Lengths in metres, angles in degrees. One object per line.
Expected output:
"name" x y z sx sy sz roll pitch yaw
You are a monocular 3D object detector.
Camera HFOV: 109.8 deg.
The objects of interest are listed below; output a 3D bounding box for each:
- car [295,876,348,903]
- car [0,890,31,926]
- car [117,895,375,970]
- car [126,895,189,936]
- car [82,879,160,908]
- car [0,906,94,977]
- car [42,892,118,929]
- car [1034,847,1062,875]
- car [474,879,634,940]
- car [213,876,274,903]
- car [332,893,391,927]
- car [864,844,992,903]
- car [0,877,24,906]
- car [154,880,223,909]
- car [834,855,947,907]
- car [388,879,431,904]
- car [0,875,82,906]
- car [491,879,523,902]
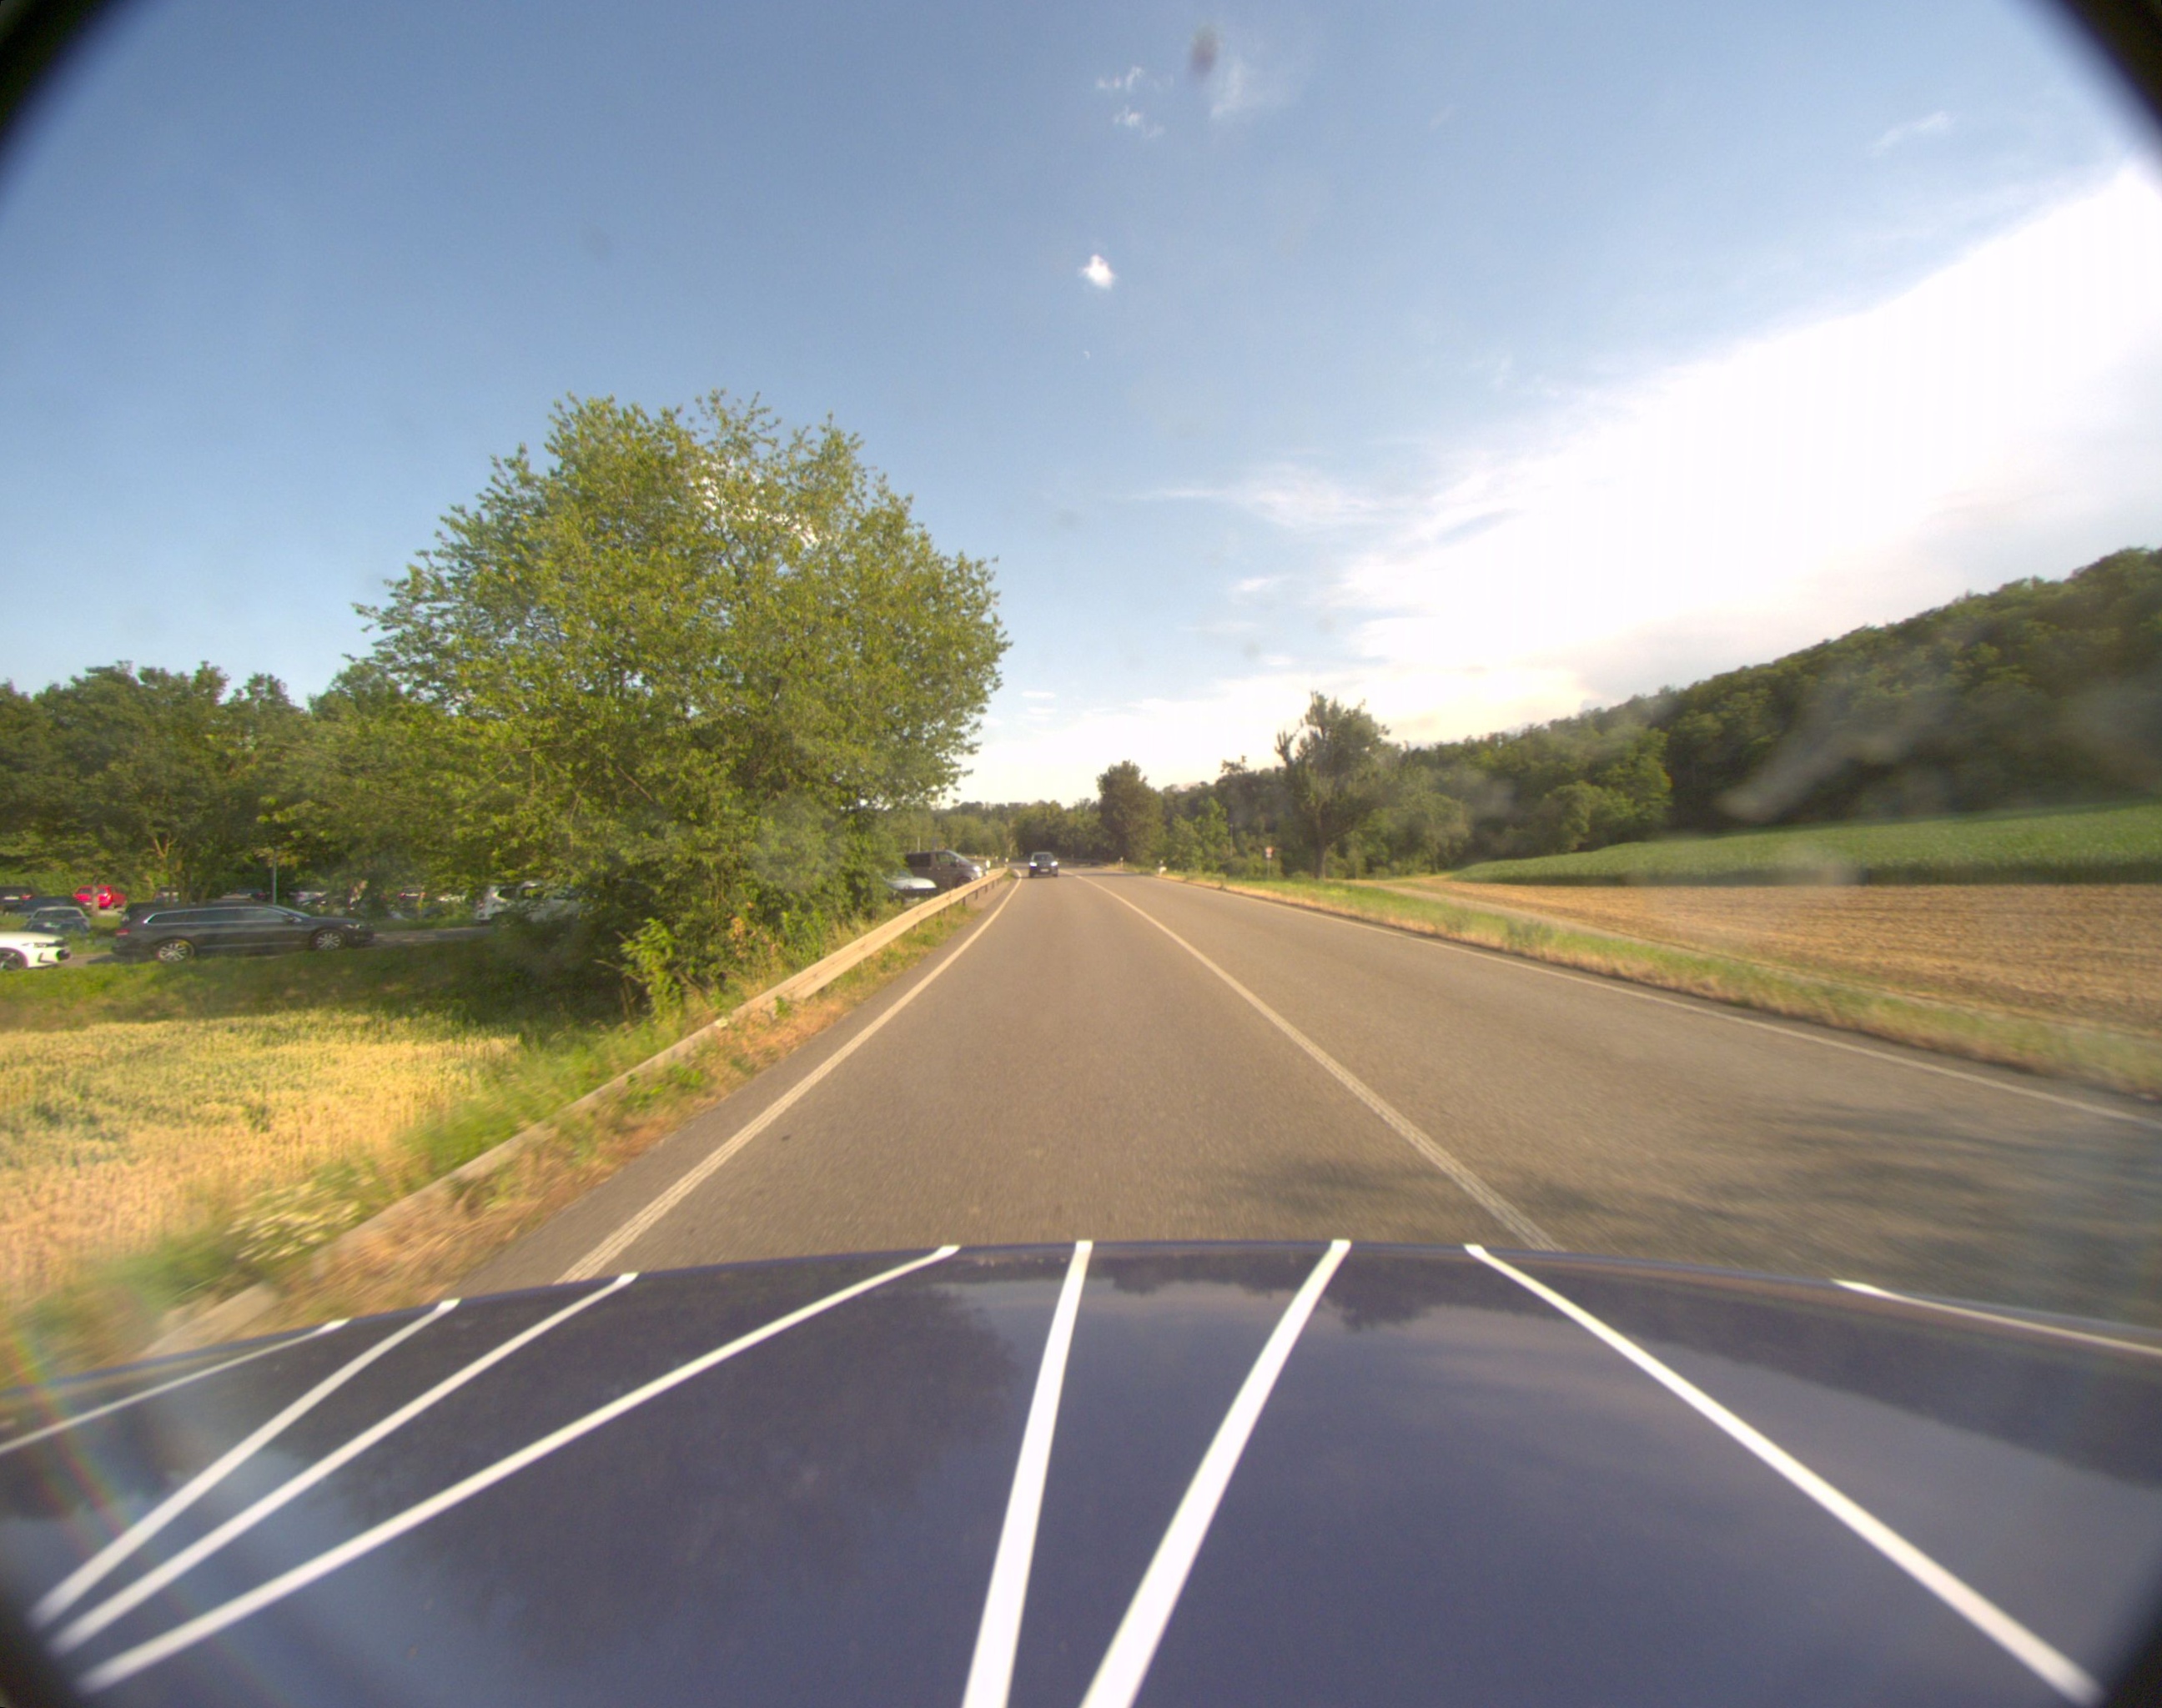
"car" -54.528 2.509 54.659 1.807 1.681 4.585 -1 0 -34
"car" -55.402 2.746 38.476 1.807 1.681 4.583 -2 1 -44
"car" -22.766 2.069 21.065 4.538 1.498 1.994 -2 1 -41
"car" -44.635 2.927 36.689 4.583 1.681 1.807 -1 1 38
"car" -62.966 2.558 49.938 1.807 1.681 4.585 -1 0 -34
"car" -26.908 2.171 17.538 4.652 1.498 1.994 -2 1 -41
"car" -54.349 3.014 41.340 1.807 1.681 4.583 -2 1 -44
"car" -2.229 0.427 50.314 1.751 1.645 4.303 -1 2 -4
"car" -17.299 1.773 25.192 4.225 1.737 1.807 0 0 -32
"car" -58.239 2.434 52.924 1.807 1.681 4.585 -1 0 -34
"car" -41.344 3.183 43.621 4.583 1.681 1.807 -1 1 38
"car" -6.599 0.803 33.236 5.155 1.933 1.974 -6 1 -6
"car" -65.304 2.262 44.909 1.807 1.681 4.585 -1 0 -34
"car" -59.806 2.659 51.022 1.807 1.681 4.585 -1 0 -34
"car" -7.257 1.025 28.858 4.001 1.545 1.681 -6 1 30
"car" -51.289 2.809 58.088 1.807 1.681 4.585 -1 0 -34
"car" -63.857 2.211 46.531 1.807 1.681 4.585 -1 0 -34
"car" -46.728 2.948 61.900 1.807 1.681 4.585 -1 0 -34
